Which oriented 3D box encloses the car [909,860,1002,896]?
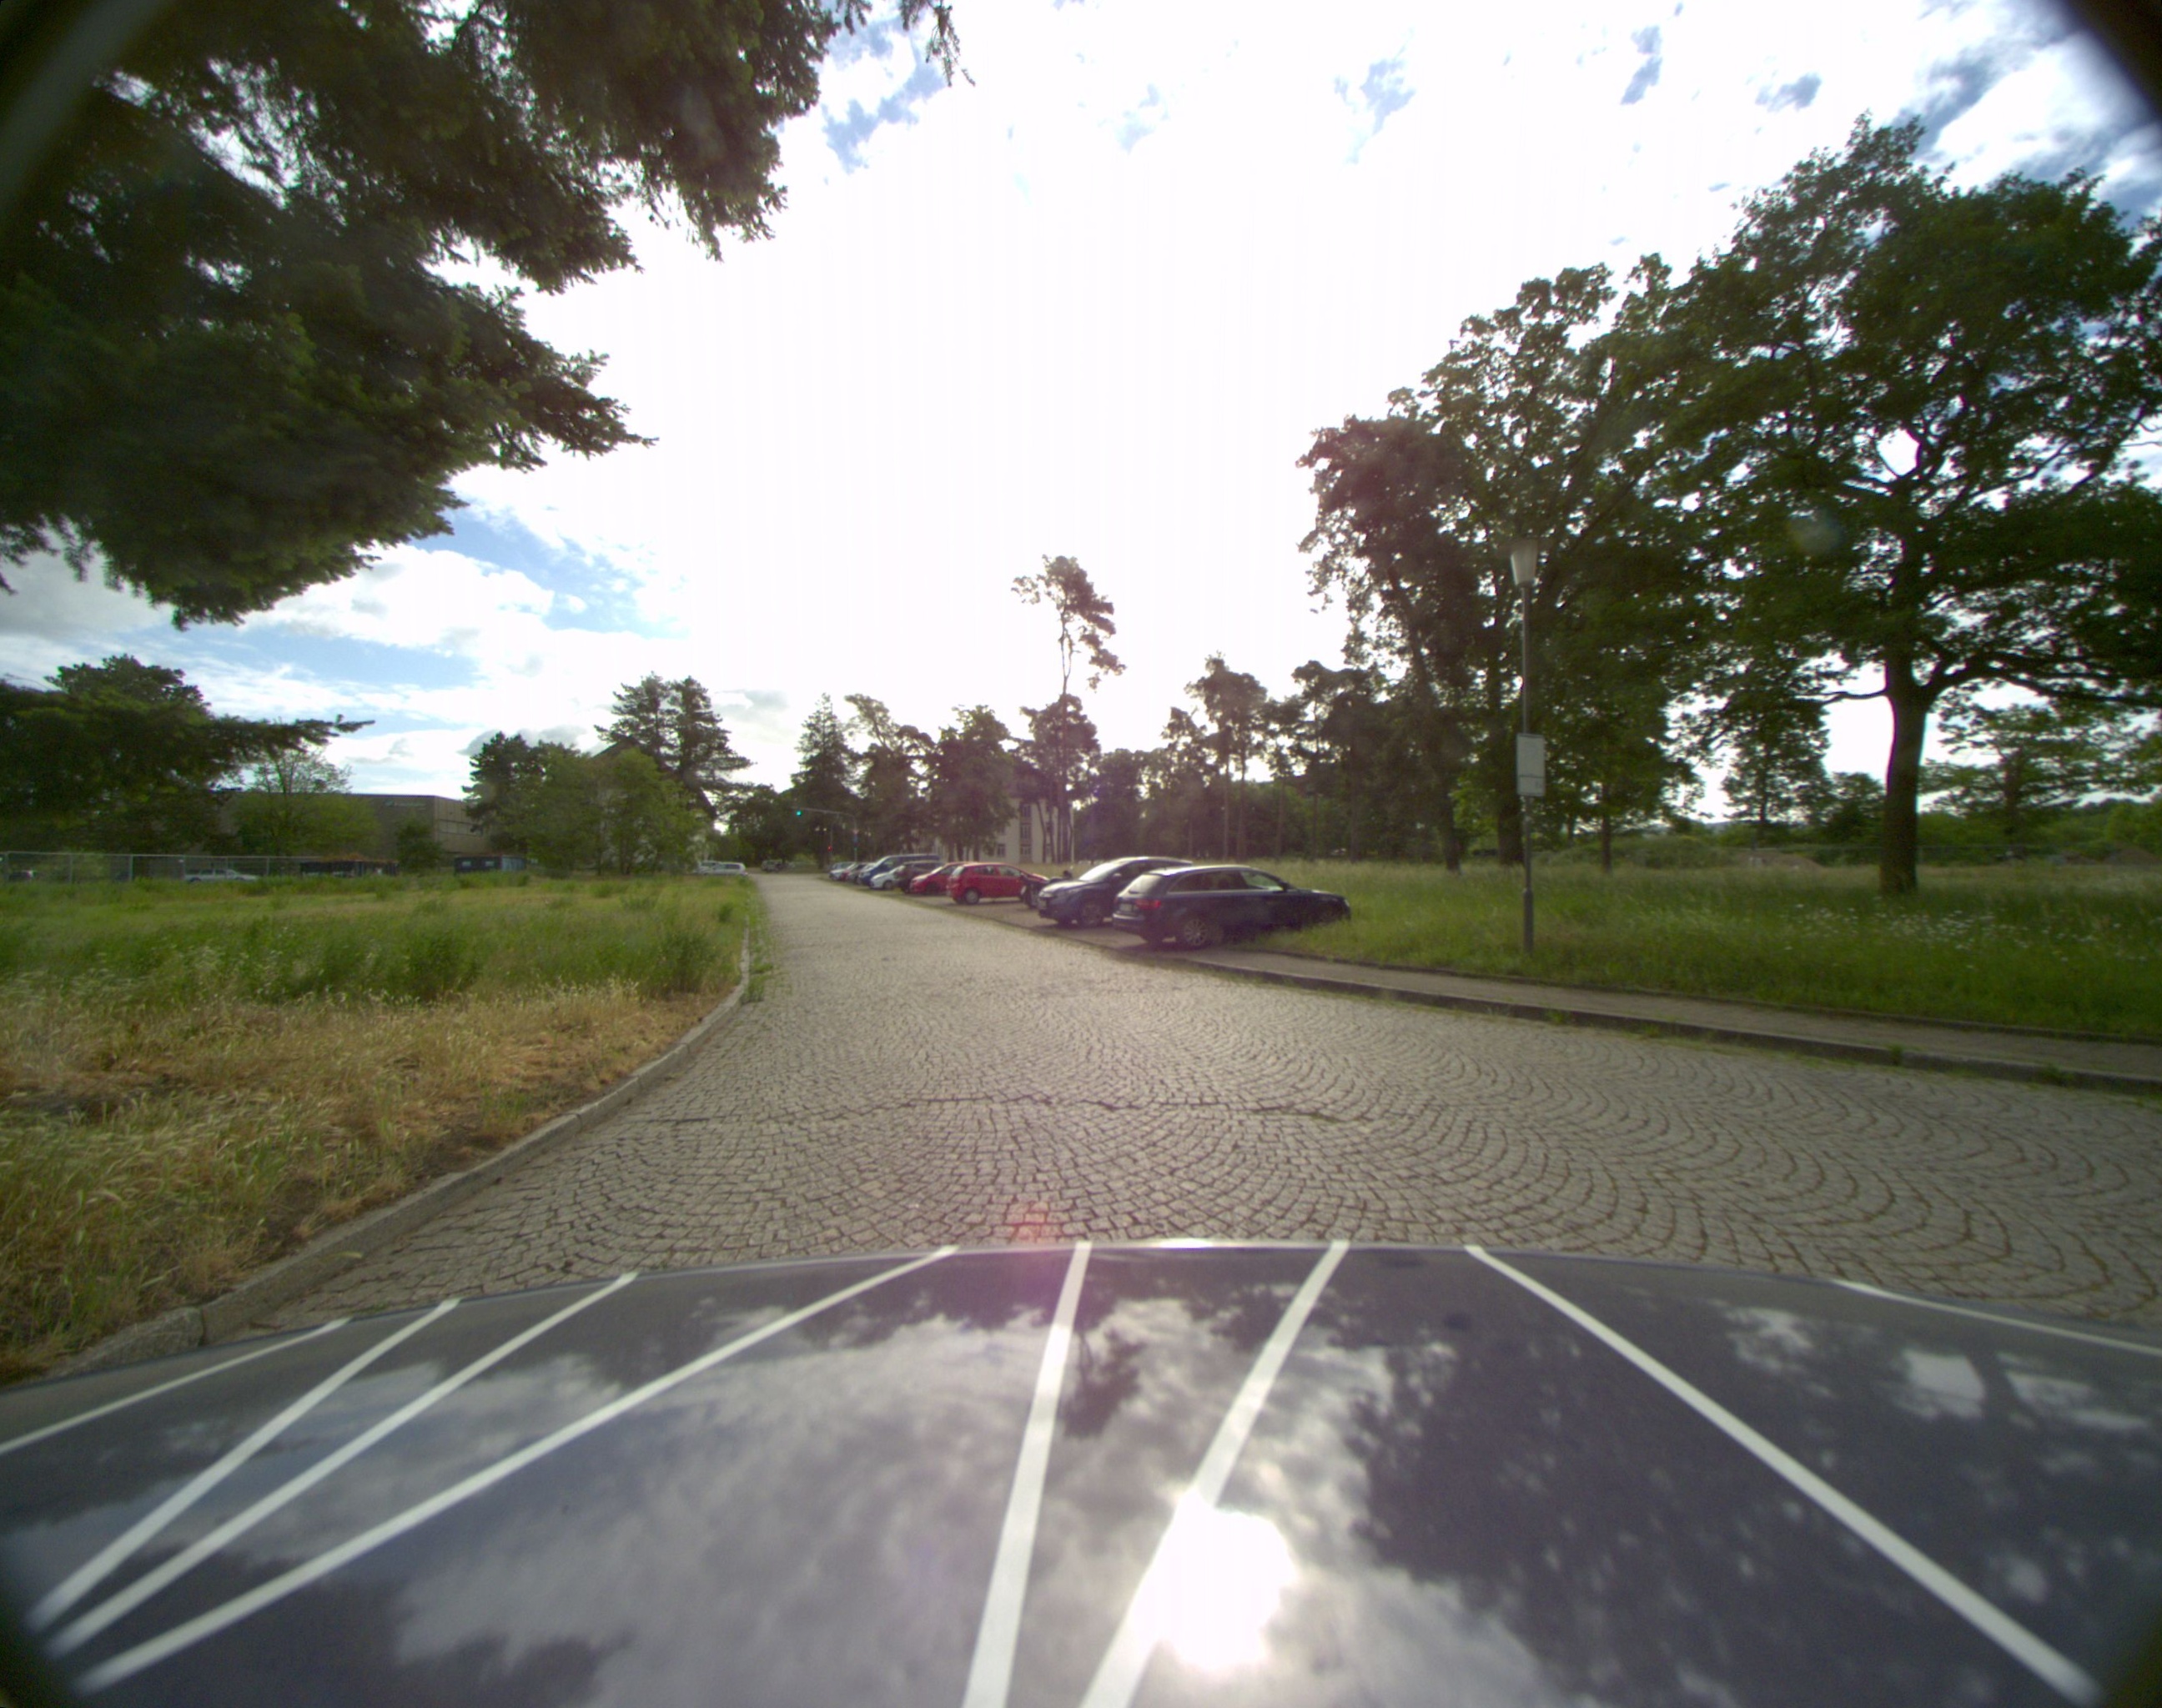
[{"bbox_3d":[-5.808,1.082,35.155,3.958,1.511,1.704,-1,0,-23],"label":"car"}]

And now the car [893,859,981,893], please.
[{"bbox_3d":[-7.121,1.050,37.556,3.924,1.594,1.817,0,0,-26],"label":"car"}]

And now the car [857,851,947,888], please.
[{"bbox_3d":[-10.726,0.901,45.622,4.841,1.855,2.157,-4,2,-25],"label":"car"}]

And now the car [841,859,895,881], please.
[{"bbox_3d":[-16.369,1.218,58.363,3.578,1.409,1.634,-4,2,-30],"label":"car"}]

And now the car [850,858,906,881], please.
[{"bbox_3d":[-14.985,1.138,56.072,3.578,1.426,1.602,-4,2,-30],"label":"car"}]

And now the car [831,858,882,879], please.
[{"bbox_3d":[-18.363,1.162,62.202,3.578,1.479,1.598,-4,2,-31],"label":"car"}]

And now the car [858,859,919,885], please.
[{"bbox_3d":[-12.867,1.165,50.837,3.605,1.446,1.683,-4,2,-30],"label":"car"}]

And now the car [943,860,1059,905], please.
[{"bbox_3d":[-2.968,1.016,28.084,3.901,1.470,1.668,-2,1,-24],"label":"car"}]

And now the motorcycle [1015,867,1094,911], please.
[{"bbox_3d":[-0.836,1.086,24.148,2.366,1.280,0.742,-1,0,-23],"label":"motorcycle"}]

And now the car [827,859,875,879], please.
[{"bbox_3d":[-19.625,1.254,64.867,3.577,1.450,1.623,-4,2,-26],"label":"car"}]

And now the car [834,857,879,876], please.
[{"bbox_3d":[-19.990,1.113,67.768,3.460,1.424,1.624,-4,2,-33],"label":"car"}]

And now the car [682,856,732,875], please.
[{"bbox_3d":[-32.845,1.027,66.680,3.737,1.430,1.622,-3,2,-31],"label":"car"}]

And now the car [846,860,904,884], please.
[{"bbox_3d":[-14.377,1.239,53.065,3.606,1.413,1.614,-3,2,-31],"label":"car"}]

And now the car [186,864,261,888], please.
[{"bbox_3d":[-72.293,1.835,64.092,1.995,1.892,3.778,-2,-2,26],"label":"car"}]

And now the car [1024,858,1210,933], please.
[{"bbox_3d":[0.879,0.929,18.527,4.157,1.564,1.786,-1,1,-25],"label":"car"}]

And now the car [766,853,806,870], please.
[{"bbox_3d":[-49.529,1.241,127.761,5.806,2.548,2.763,-4,2,-29],"label":"car"}]

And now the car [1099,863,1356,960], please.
[{"bbox_3d":[2.733,0.974,14.163,4.450,1.471,1.679,-1,0,-20],"label":"car"}]

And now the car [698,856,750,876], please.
[{"bbox_3d":[-29.318,0.990,62.360,3.736,1.430,1.623,-3,2,-27],"label":"car"}]

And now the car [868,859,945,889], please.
[{"bbox_3d":[-9.914,1.122,43.243,3.937,1.385,1.739,-4,2,-25],"label":"car"}]

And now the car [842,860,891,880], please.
[{"bbox_3d":[-17.107,1.238,60.587,3.656,1.341,1.617,-4,2,-20],"label":"car"}]
